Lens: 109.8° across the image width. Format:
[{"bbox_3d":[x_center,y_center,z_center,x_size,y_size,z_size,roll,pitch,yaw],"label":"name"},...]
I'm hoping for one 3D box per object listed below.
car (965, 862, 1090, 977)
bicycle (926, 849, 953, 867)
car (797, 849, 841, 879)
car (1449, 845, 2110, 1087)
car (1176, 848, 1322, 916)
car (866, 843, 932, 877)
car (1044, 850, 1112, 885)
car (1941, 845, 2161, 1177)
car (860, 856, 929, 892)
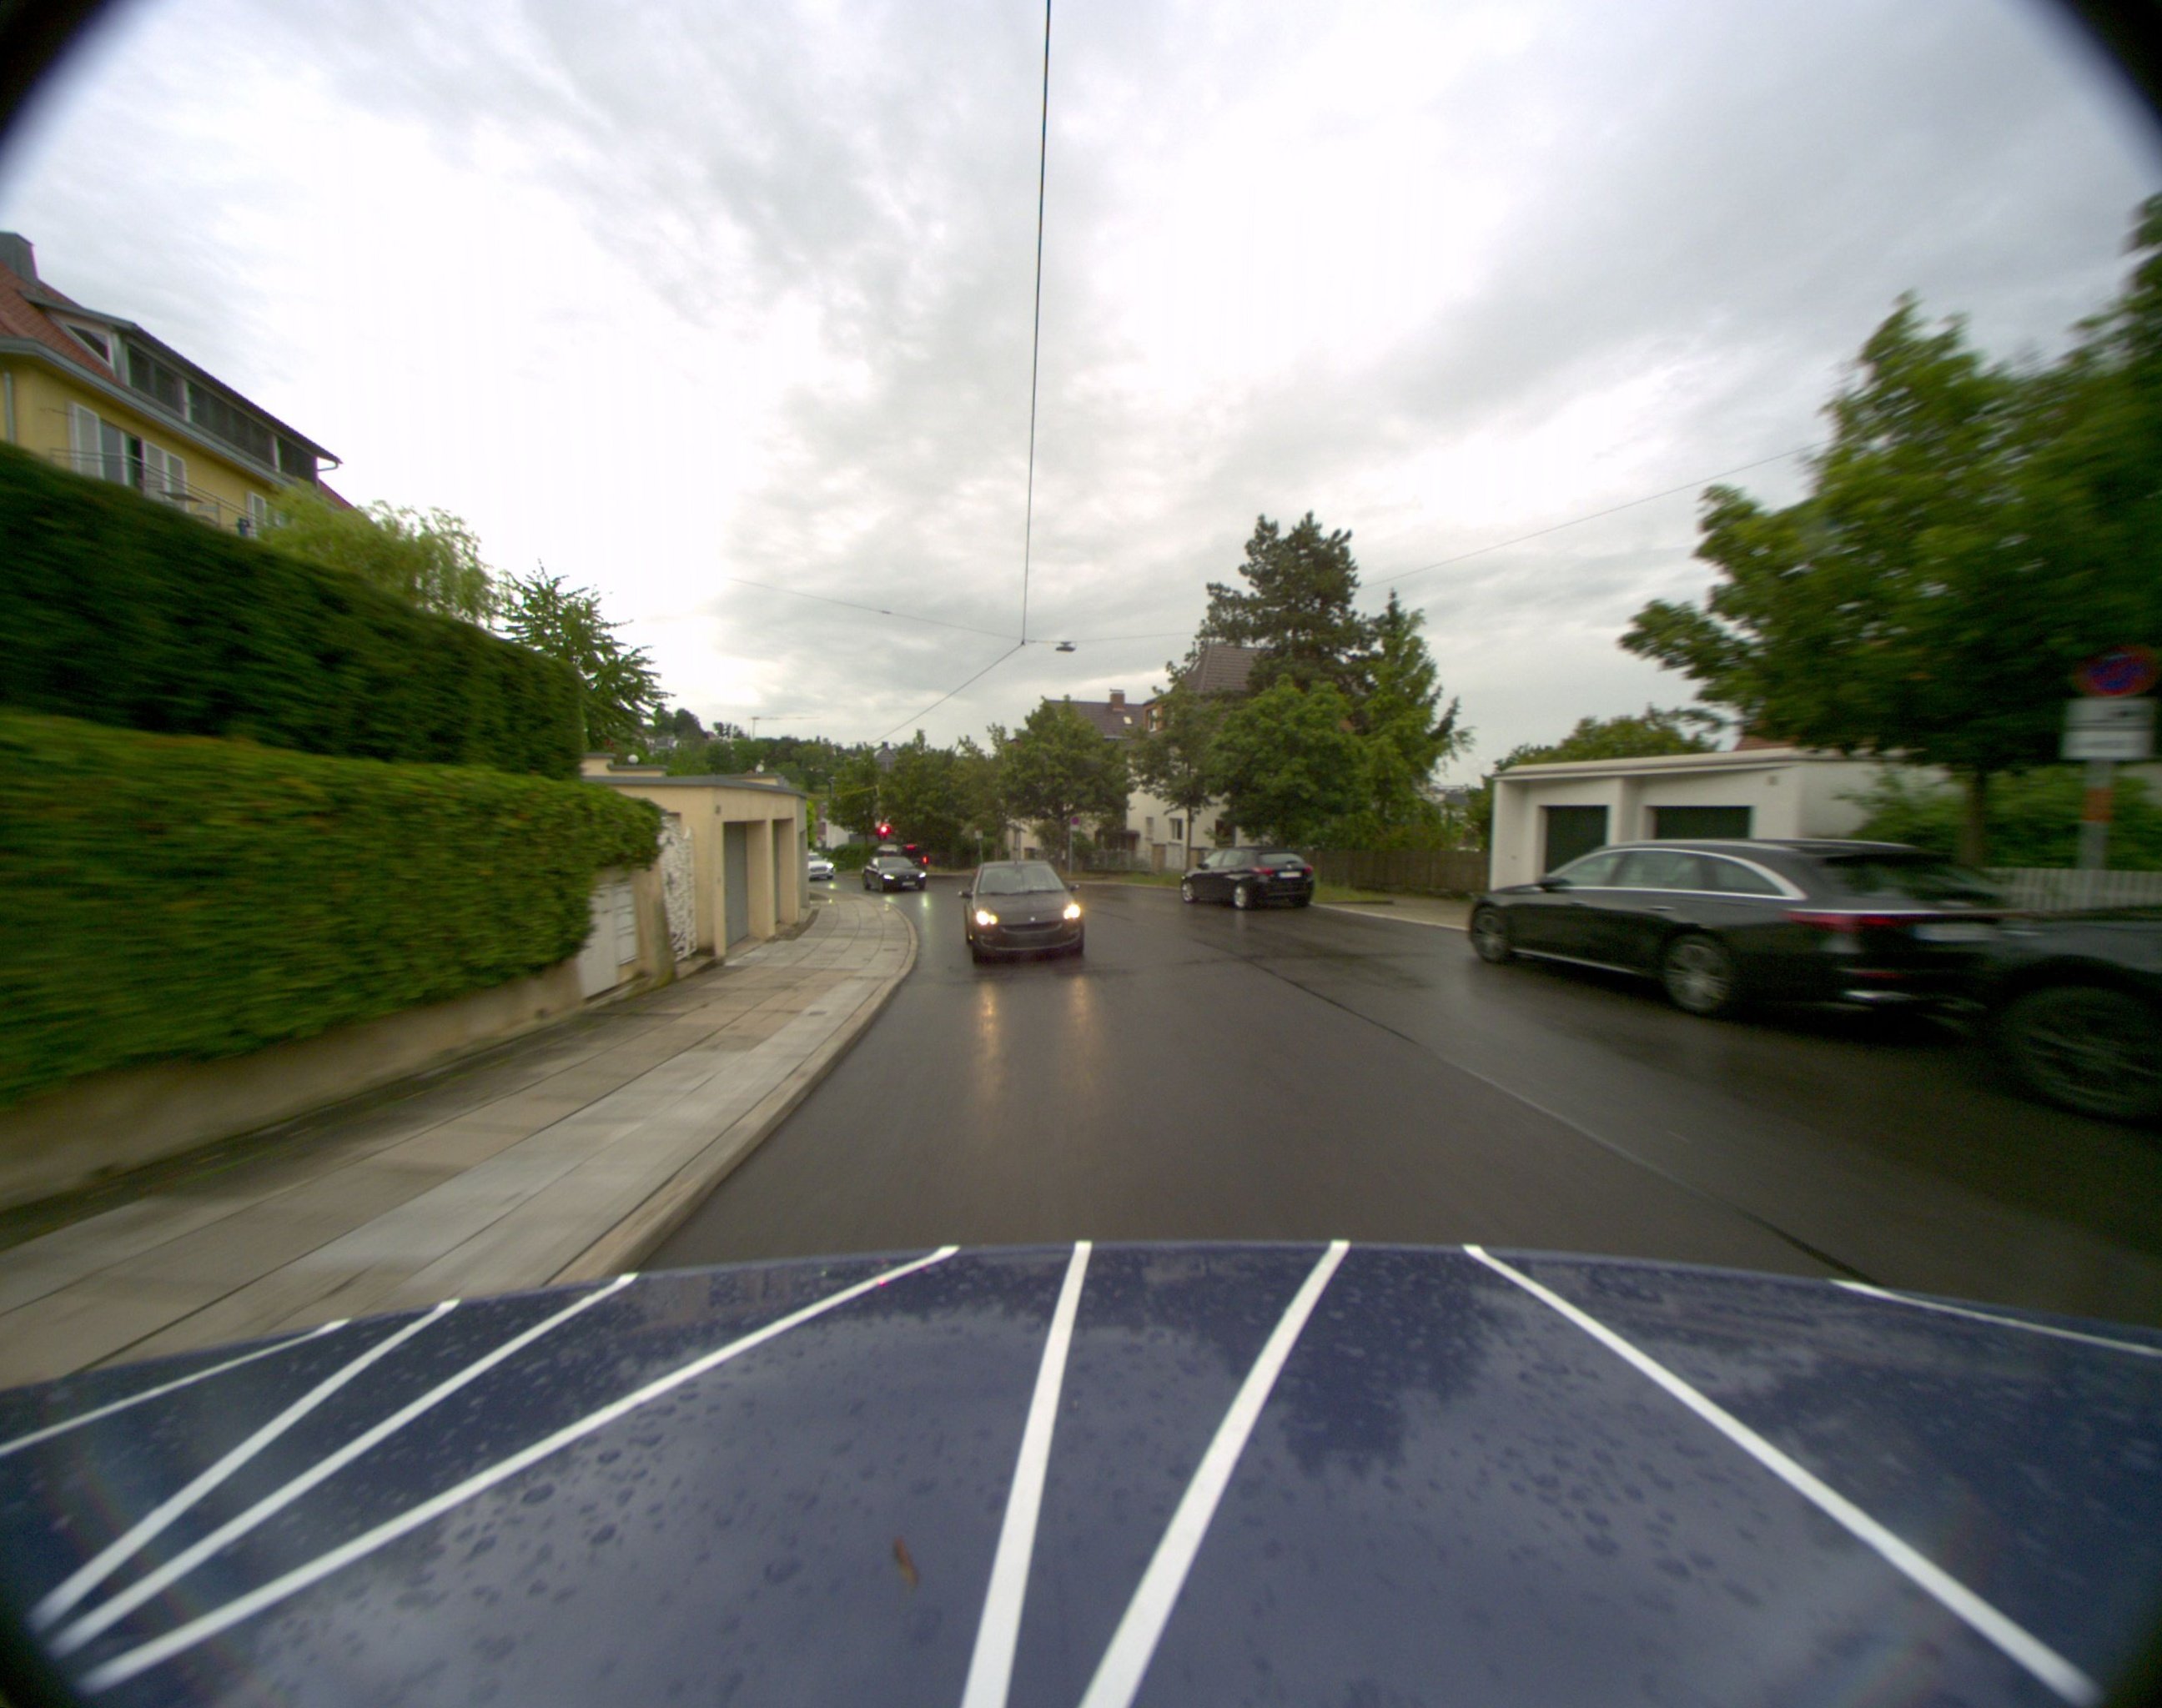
[{"bbox_3d":[-1.082,0.918,12.803,1.675,1.457,4.711,-1,1,-9],"label":"car"},{"bbox_3d":[-10.364,0.295,55.616,2.267,1.265,0.493,-2,3,41],"label":"bicycle"},{"bbox_3d":[-16.084,0.549,46.452,2.004,1.699,4.564,-1,1,-26],"label":"car"},{"bbox_3d":[5.879,0.715,7.532,1.872,1.536,4.902,-1,1,-3],"label":"car"},{"bbox_3d":[3.980,0.598,18.656,1.677,1.457,3.887,-1,1,-20],"label":"car"},{"bbox_3d":[-10.730,0.307,44.531,1.906,1.878,5.139,-1,1,-36],"label":"car"},{"bbox_3d":[-0.208,0.861,49.951,4.003,1.575,1.853,10,-1,-12],"label":"car"},{"bbox_3d":[5.984,0.765,2.404,1.738,1.536,4.209,-1,1,0],"label":"car"},{"bbox_3d":[-8.012,0.803,32.405,1.847,1.395,4.061,-1,1,-28],"label":"car"}]
